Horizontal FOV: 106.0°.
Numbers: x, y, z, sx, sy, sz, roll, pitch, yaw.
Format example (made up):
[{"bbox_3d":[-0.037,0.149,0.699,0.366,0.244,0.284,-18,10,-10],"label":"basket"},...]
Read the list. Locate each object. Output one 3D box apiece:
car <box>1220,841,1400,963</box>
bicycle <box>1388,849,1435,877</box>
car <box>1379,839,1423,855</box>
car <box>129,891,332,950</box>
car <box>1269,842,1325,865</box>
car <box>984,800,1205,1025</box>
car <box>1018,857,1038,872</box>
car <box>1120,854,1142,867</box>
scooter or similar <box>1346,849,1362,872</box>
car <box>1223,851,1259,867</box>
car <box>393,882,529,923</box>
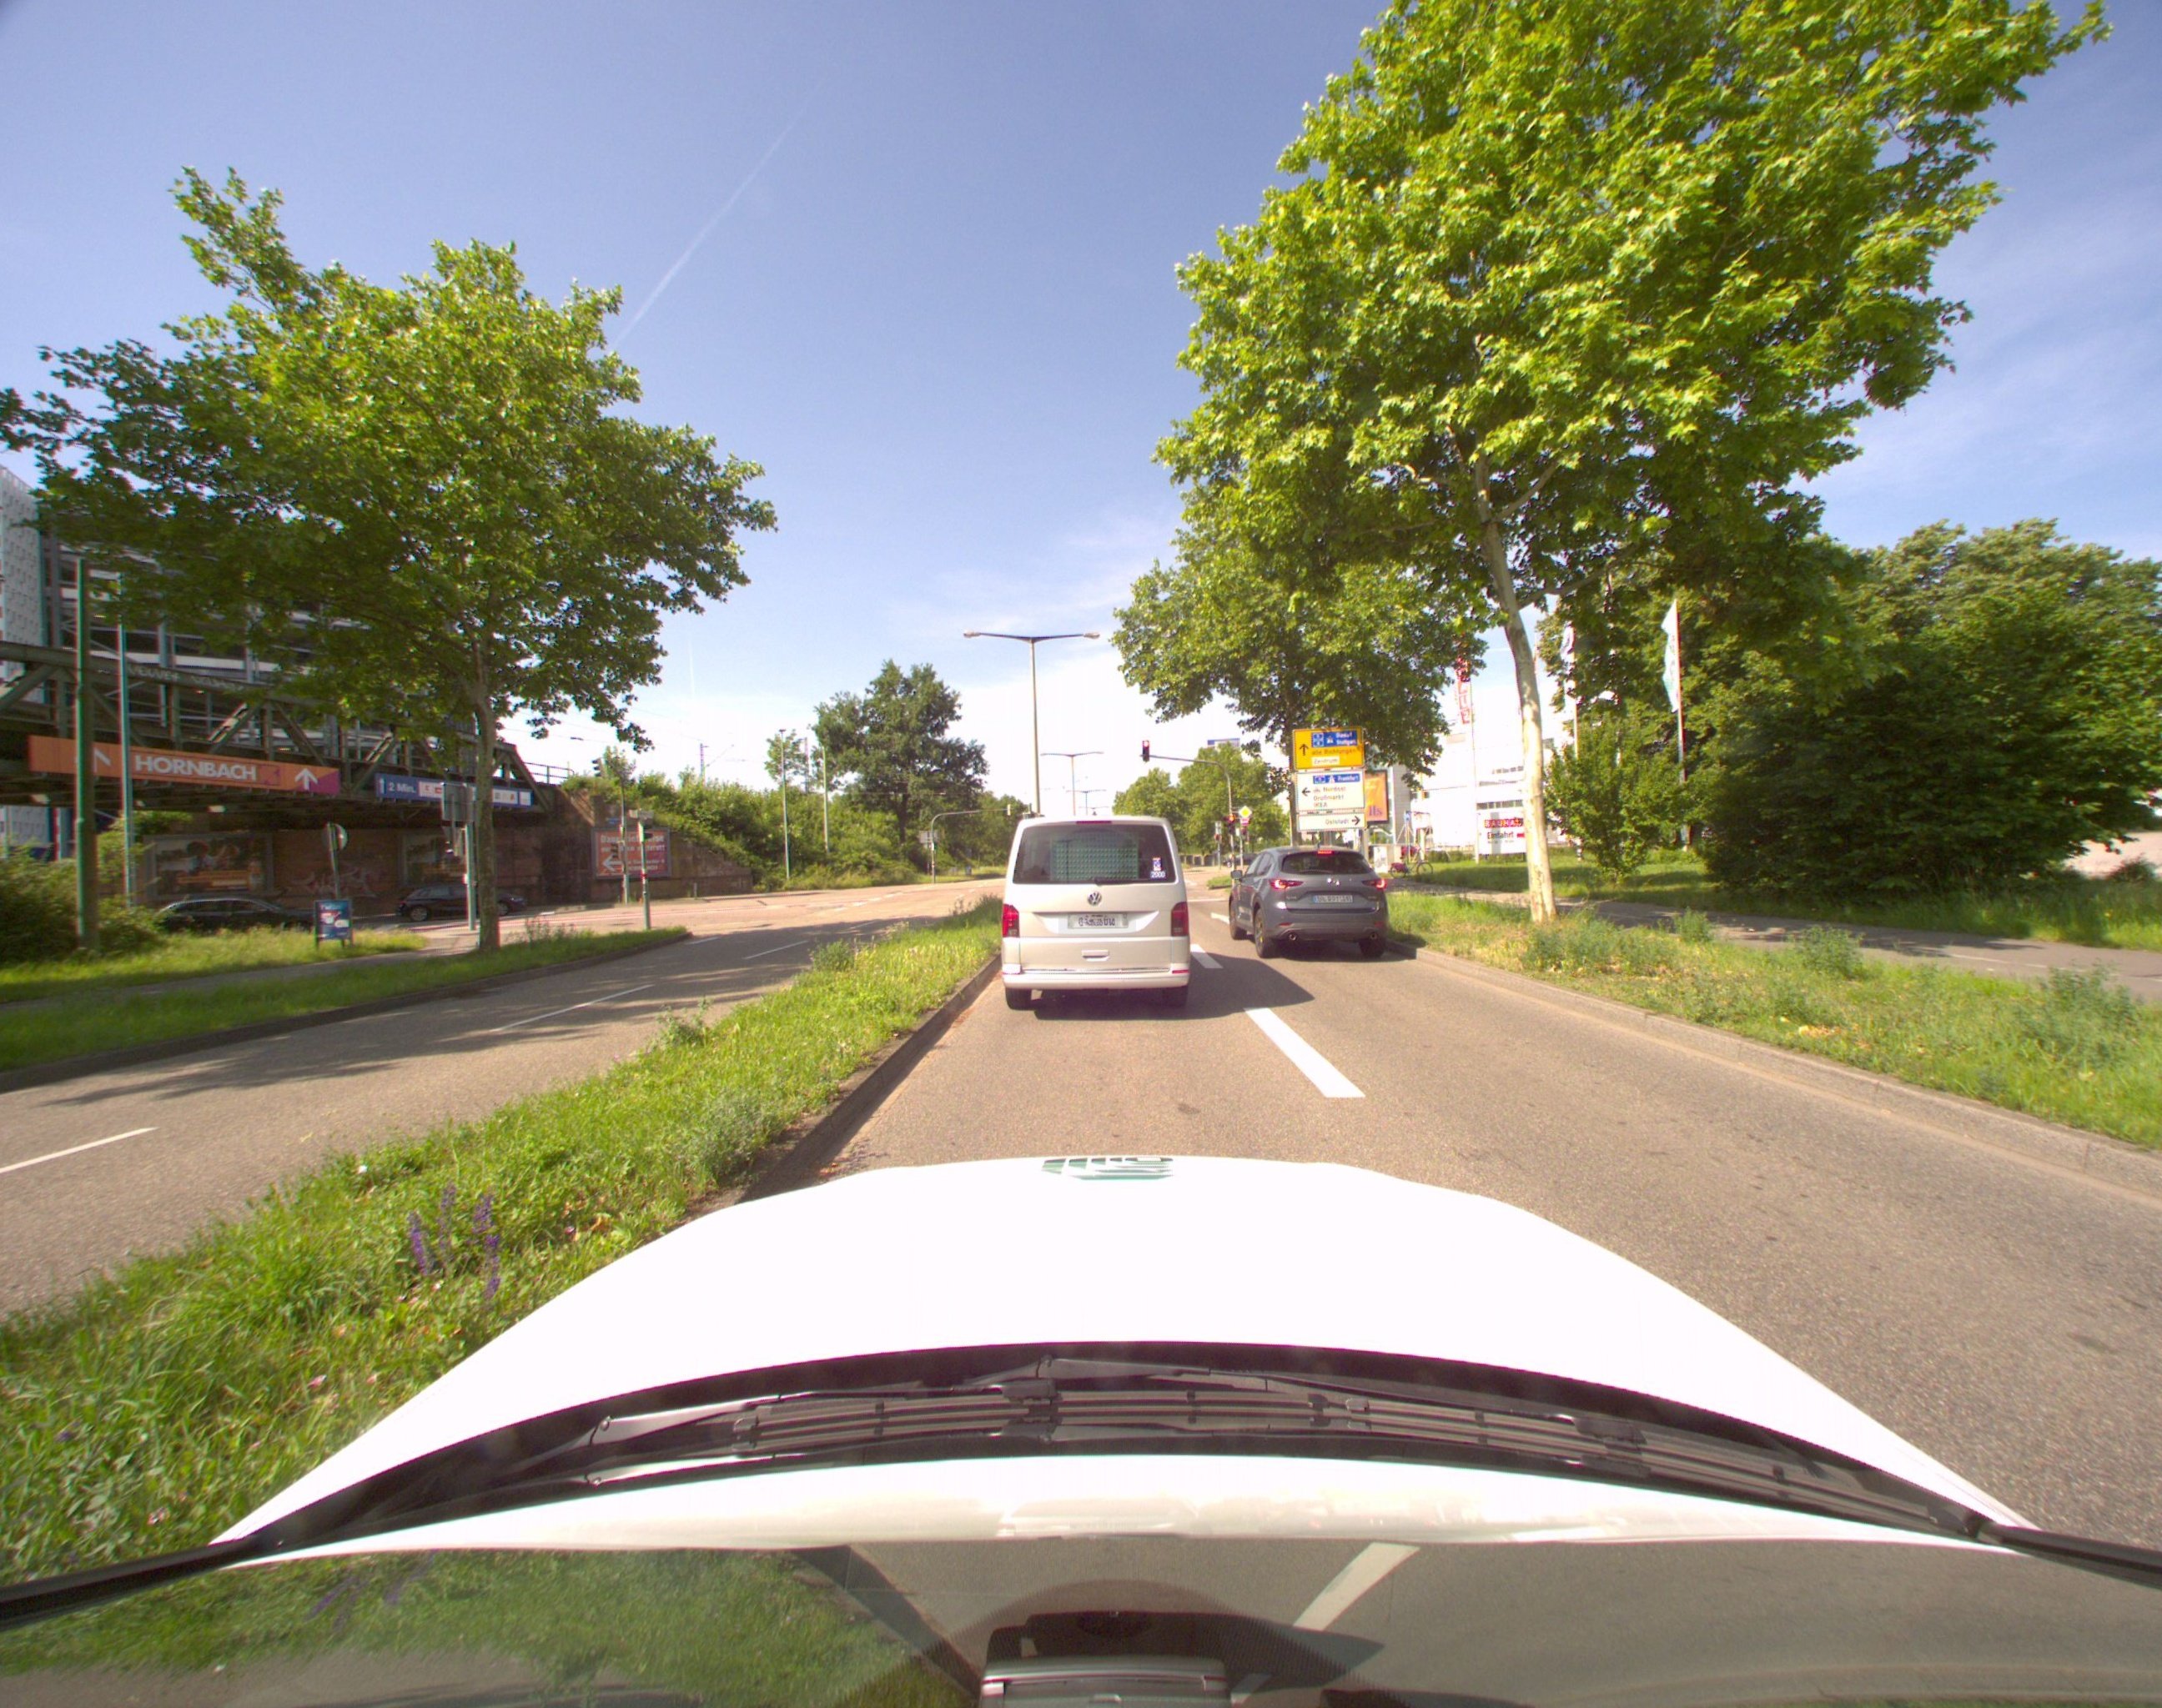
[{"bbox_3d":[3.513,0.667,13.372,1.759,1.659,4.497,-1,0,1],"label":"car"},{"bbox_3d":[14.191,0.381,35.002,1.771,1.108,0.506,-4,-1,20],"label":"bicycle"},{"bbox_3d":[31.993,-0.710,81.395,4.646,1.444,1.762,-2,0,-35],"label":"car"},{"bbox_3d":[-25.685,1.949,24.810,3.959,1.481,1.804,-1,-1,-34],"label":"car"},{"bbox_3d":[18.173,-0.027,68.490,4.646,1.689,1.895,-2,0,-35],"label":"car"},{"bbox_3d":[0.201,0.542,9.858,1.934,1.971,5.024,-2,0,2],"label":"car"},{"bbox_3d":[-5.769,1.164,89.209,1.844,1.561,3.999,-3,0,0],"label":"car"},{"bbox_3d":[6.142,0.821,100.402,1.776,1.444,4.611,-3,0,-9],"label":"car"},{"bbox_3d":[14.108,0.336,42.141,0.423,1.126,1.124,-3,0,1],"label":"scooter or similar"},{"bbox_3d":[16.425,0.489,83.399,3.571,1.566,2.007,-1,-1,12],"label":"car"},{"bbox_3d":[-25.686,1.972,33.947,4.353,1.395,1.752,-3,0,-35],"label":"car"}]
